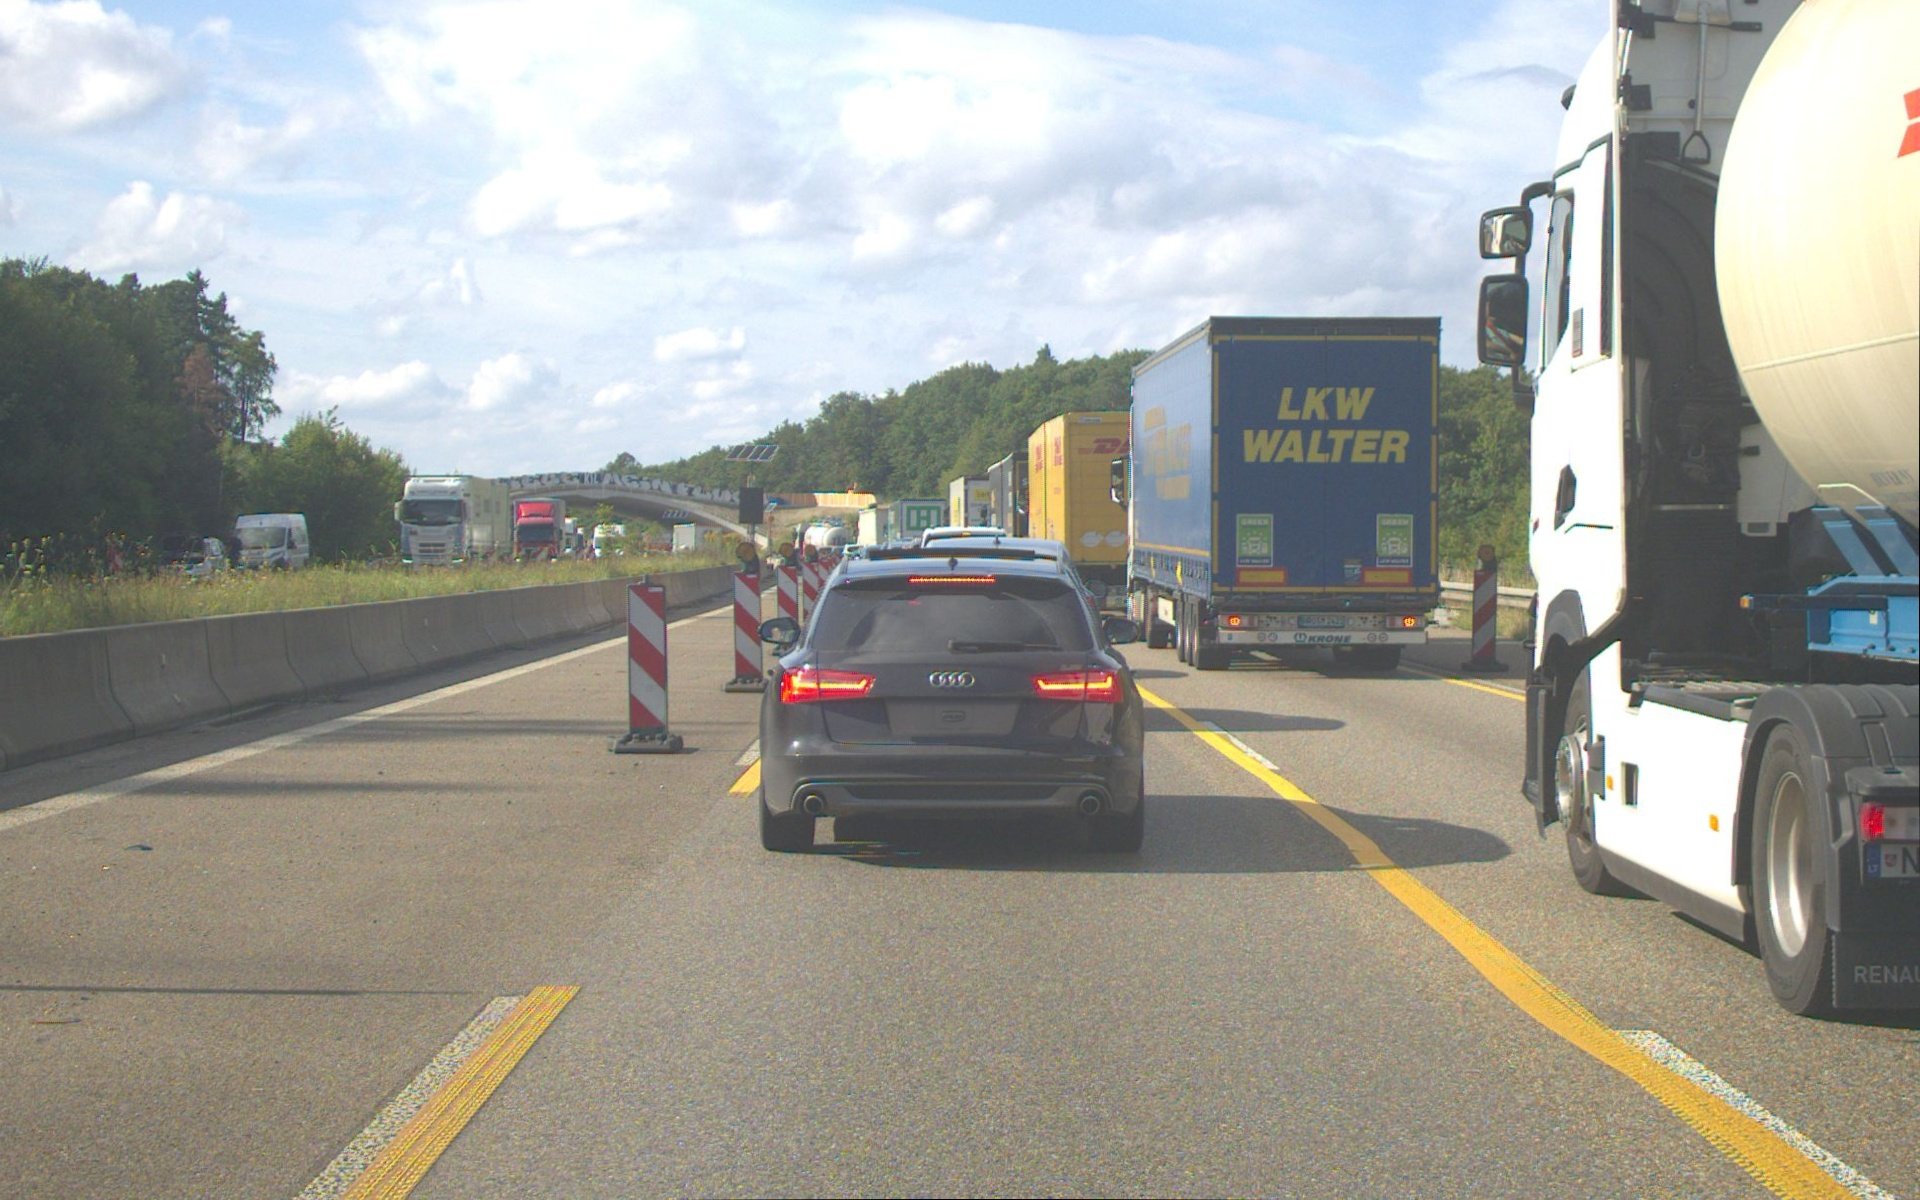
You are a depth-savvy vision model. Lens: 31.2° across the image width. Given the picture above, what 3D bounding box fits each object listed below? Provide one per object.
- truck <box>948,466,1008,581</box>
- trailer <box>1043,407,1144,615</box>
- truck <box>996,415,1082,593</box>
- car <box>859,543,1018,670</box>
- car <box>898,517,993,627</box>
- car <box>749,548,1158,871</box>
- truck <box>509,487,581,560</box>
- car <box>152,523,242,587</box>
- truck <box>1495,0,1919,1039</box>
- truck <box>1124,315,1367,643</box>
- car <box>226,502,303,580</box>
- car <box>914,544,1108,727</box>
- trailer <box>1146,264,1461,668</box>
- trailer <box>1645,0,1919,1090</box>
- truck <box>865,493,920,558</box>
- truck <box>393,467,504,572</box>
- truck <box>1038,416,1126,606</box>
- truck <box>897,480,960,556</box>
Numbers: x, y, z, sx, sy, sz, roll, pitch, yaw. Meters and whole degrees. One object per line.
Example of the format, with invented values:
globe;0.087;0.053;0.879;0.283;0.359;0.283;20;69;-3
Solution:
truck;0.645;-2.867;130.798;2.137;4.243;7.071;1;1;0
trailer;2.612;-1.720;68.361;1.616;3.905;6.489;1;1;-1
truck;2.226;-2.750;99.850;1.993;4.897;9.563;1;1;-1
car;-0.234;0.053;40.066;1.751;1.392;3.608;1;1;0
car;-0.239;-0.486;59.709;1.581;1.830;3.112;1;1;0
car;-0.031;0.477;17.577;1.848;1.458;4.000;0;1;0
truck;-23.454;-4.299;194.884;2.800;3.978;10.186;1;1;0
car;-24.538;-1.444;110.684;1.993;2.007;4.000;1;1;0
truck;3.860;-0.684;13.153;2.659;3.958;5.779;1;1;0
truck;4.017;-1.659;49.968;2.806;4.354;7.792;1;1;0
car;-24.343;-2.061;120.537;2.250;2.634;5.021;1;1;-7
car;0.407;0.267;29.049;1.524;1.434;3.285;1;1;0
trailer;4.057;-1.523;42.977;2.805;4.398;10.433;1;1;0
trailer;3.868;-0.619;6.260;2.644;3.929;12.598;1;1;0
truck;-4.459;-4.877;225.083;3.303;4.160;9.703;0;1;-3
truck;-20.230;-3.129;136.531;2.782;3.971;10.863;1;1;0
truck;2.550;-1.841;72.624;1.609;3.883;4.072;1;0;-1
truck;-1.826;-4.587;194.038;3.304;4.160;9.703;0;1;-2
